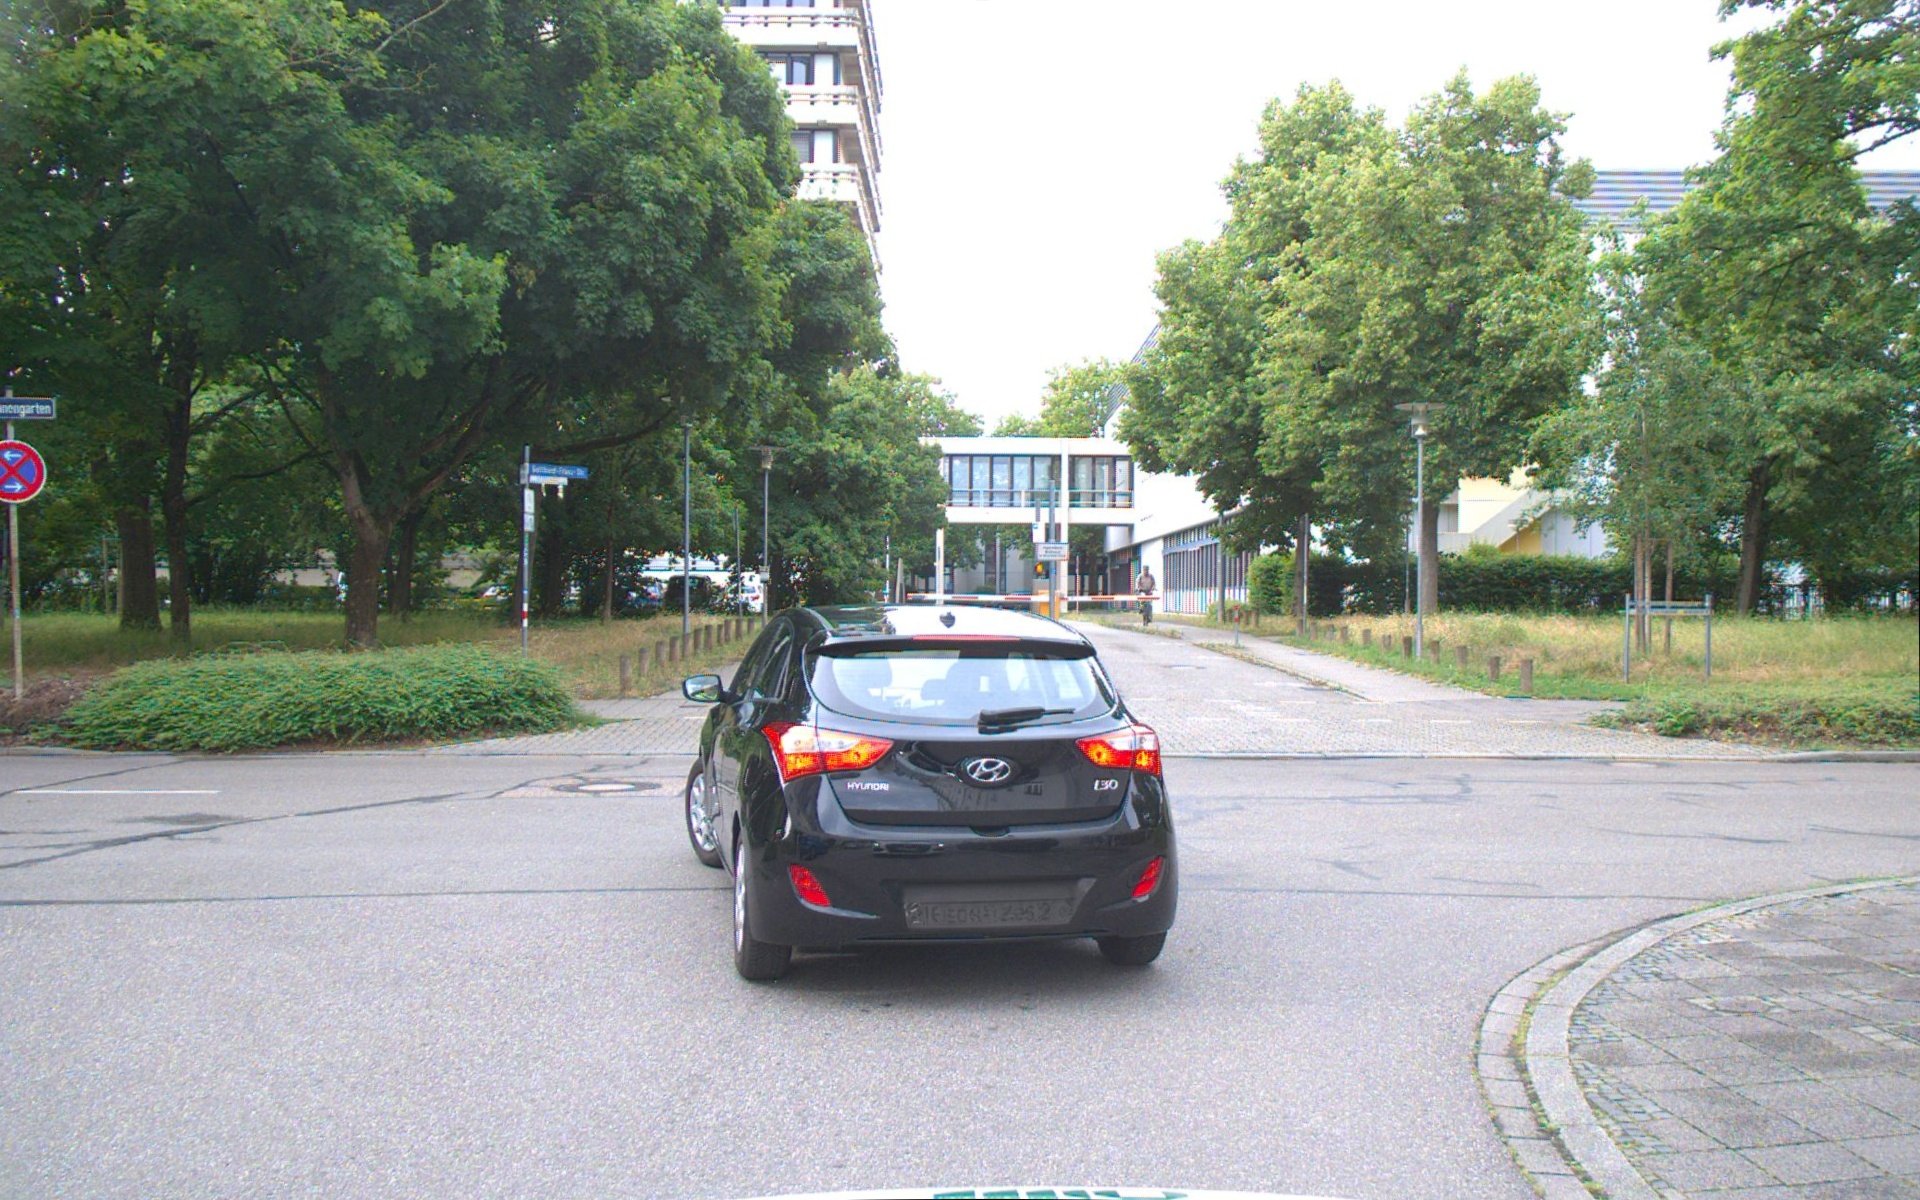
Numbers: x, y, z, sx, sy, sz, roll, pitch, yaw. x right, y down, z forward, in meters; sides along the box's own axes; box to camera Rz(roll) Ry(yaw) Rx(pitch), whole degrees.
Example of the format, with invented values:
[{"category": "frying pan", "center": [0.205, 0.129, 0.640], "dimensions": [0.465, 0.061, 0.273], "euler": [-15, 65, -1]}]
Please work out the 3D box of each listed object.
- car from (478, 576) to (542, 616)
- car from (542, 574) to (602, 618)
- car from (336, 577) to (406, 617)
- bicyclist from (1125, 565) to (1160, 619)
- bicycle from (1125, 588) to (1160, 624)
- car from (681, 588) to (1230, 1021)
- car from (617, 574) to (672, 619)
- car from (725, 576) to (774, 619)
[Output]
[{"category": "car", "center": [-19.319, -0.175, 71.191], "dimensions": [1.955, 1.646, 3.996], "euler": [0, 0, -5]}, {"category": "car", "center": [-16.652, -0.153, 71.185], "dimensions": [1.955, 1.758, 3.995], "euler": [0, -1, -5]}, {"category": "car", "center": [-25.395, -0.129, 71.411], "dimensions": [1.880, 1.646, 3.996], "euler": [0, 0, -5]}, {"category": "bicyclist", "center": [5.742, -0.251, 52.077], "dimensions": [0.996, 1.673, 0.923], "euler": [0, 1, 0]}, {"category": "bicycle", "center": [5.724, 0.184, 51.986], "dimensions": [0.849, 1.093, 2.142], "euler": [0, 1, 0]}, {"category": "car", "center": [-0.295, 0.712, 7.763], "dimensions": [1.814, 1.488, 3.815], "euler": [1, 0, -12]}, {"category": "car", "center": [-13.616, -0.124, 71.586], "dimensions": [1.955, 1.825, 3.995], "euler": [0, -1, -5]}, {"category": "car", "center": [-9.116, -0.082, 71.755], "dimensions": [1.955, 1.793, 3.995], "euler": [0, -1, -5]}]
